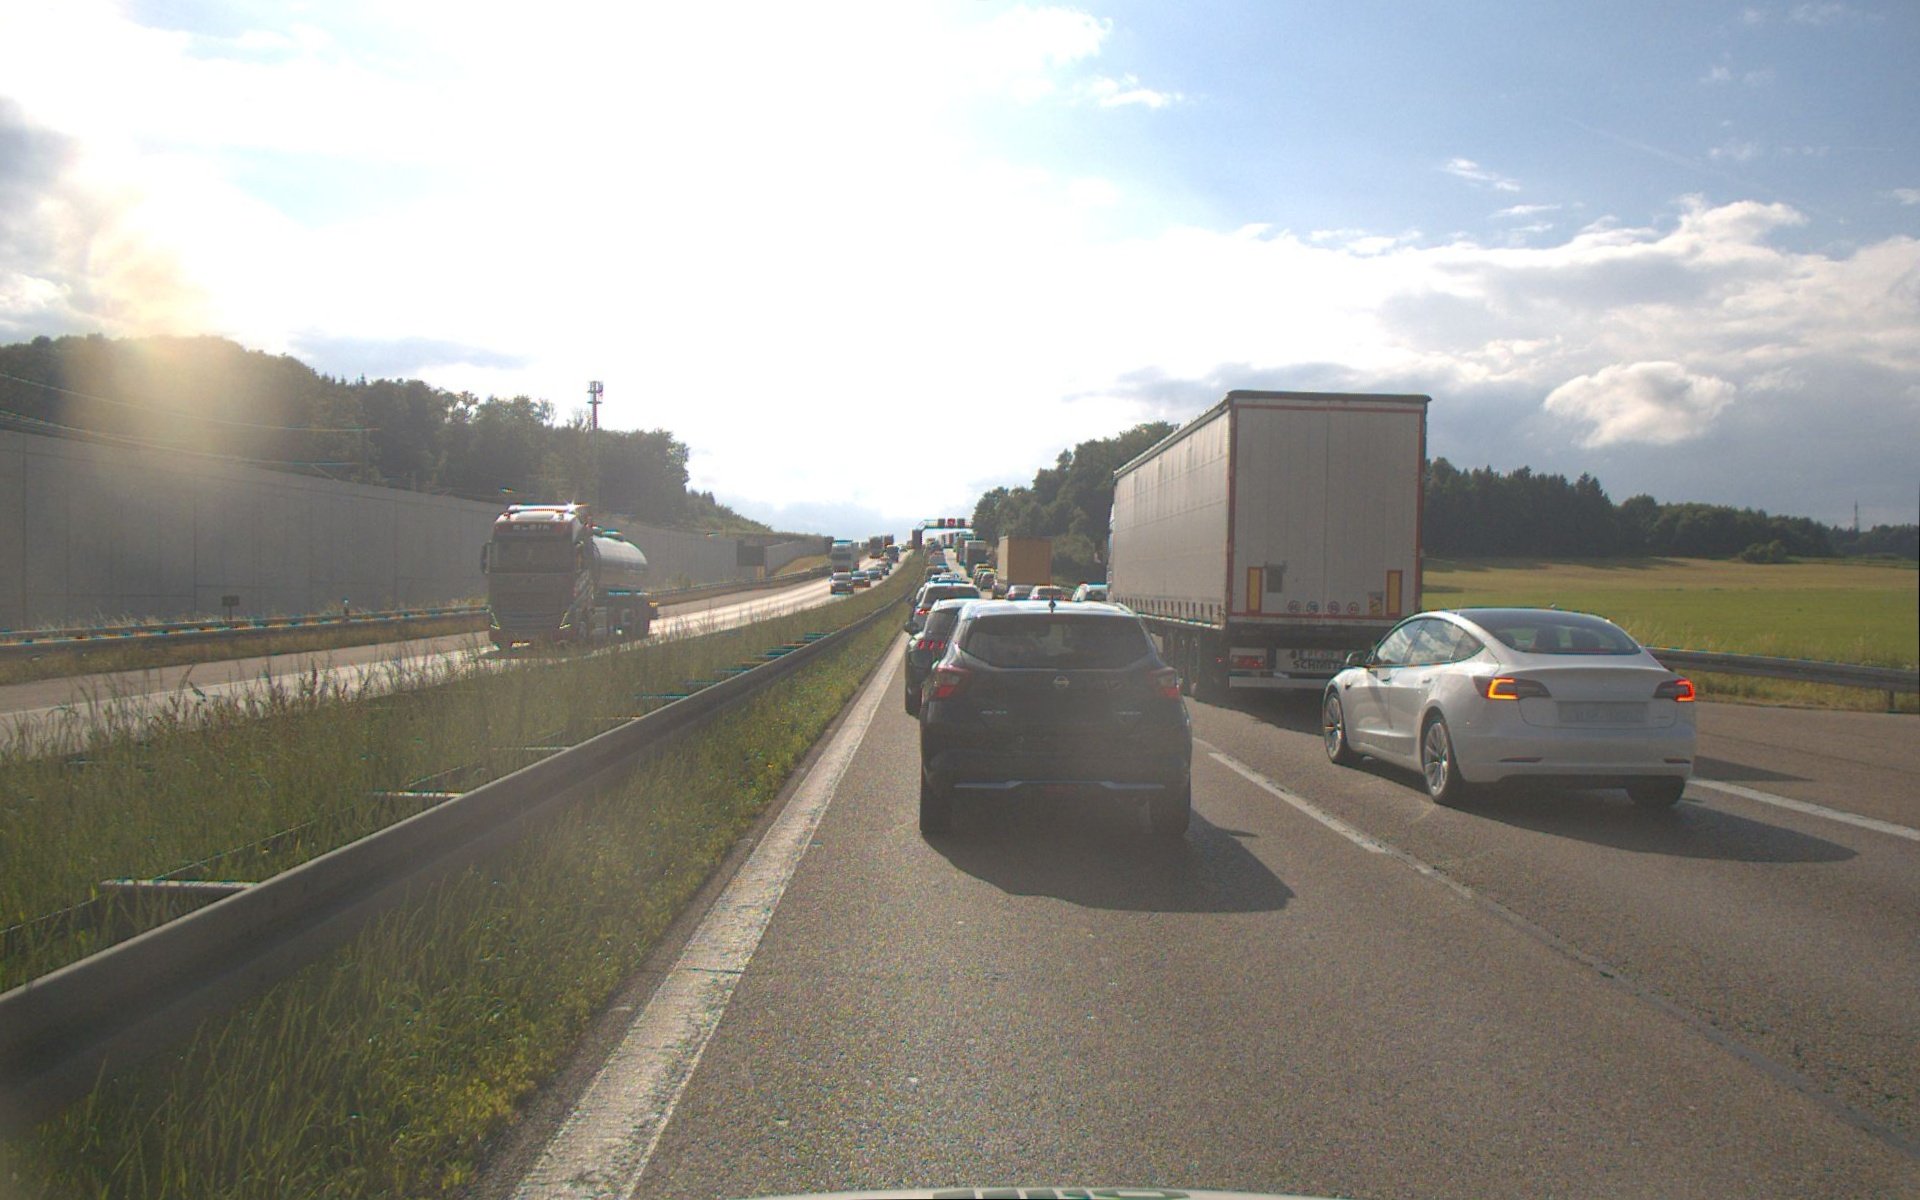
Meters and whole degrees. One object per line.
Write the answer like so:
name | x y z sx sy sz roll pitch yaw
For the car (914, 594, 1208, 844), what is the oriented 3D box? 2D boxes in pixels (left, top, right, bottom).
car | 0.577 0.702 11.887 1.737 1.476 4.231 0 0 -1

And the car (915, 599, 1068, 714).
car | 0.359 0.679 21.935 1.835 1.381 4.231 0 0 -1

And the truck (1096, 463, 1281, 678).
truck | 4.618 -0.539 34.457 3.069 4.086 5.163 1 -1 0

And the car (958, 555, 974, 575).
car | 0.752 -4.249 200.151 1.835 2.196 5.211 0 3 -1

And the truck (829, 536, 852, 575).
truck | -13.925 -5.147 192.666 2.332 4.254 5.931 0 0 -1

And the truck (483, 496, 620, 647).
truck | -11.536 -0.774 47.232 2.530 3.991 5.721 -1 0 -1

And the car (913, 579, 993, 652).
car | -0.179 0.350 39.969 1.835 1.673 4.231 0 0 -1

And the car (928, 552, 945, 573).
car | -2.659 -4.213 185.458 1.835 2.196 5.211 0 3 -1

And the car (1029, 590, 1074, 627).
car | 4.260 0.397 77.873 1.835 1.673 4.231 0 0 -1

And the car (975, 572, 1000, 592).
car | 2.350 -1.544 143.102 1.836 1.673 4.229 0 2 -4

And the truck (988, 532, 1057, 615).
truck | 3.673 -1.481 100.718 3.230 4.657 12.434 1 -1 -2

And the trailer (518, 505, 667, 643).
trailer | -11.624 -0.761 53.373 2.535 3.970 10.862 -1 0 -1

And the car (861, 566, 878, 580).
car | -10.159 -3.027 185.648 1.733 1.505 3.828 0 0 0

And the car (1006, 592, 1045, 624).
car | 3.438 0.400 87.326 1.835 1.673 4.232 0 1 -1

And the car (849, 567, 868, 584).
car | -9.595 -2.297 157.029 1.663 1.525 4.426 0 0 -1

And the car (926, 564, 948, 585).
car | -1.962 -2.188 141.671 1.835 1.673 4.231 0 2 -2

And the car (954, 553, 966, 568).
car | 0.002 -6.064 255.239 1.835 2.196 5.211 0 3 -1

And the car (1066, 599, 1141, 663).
car | 3.821 0.785 44.623 1.663 1.639 4.437 0 0 0

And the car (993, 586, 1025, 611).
car | 3.279 -0.118 111.900 1.836 1.673 4.230 0 1 -3

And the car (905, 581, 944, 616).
car | -1.732 -0.097 81.470 1.835 1.673 4.232 0 1 -1

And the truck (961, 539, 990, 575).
truck | 2.047 -5.843 225.884 3.394 4.656 12.437 1 1 -2

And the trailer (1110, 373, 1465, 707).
trailer | 4.659 -0.640 27.096 3.067 4.081 13.364 1 -1 0

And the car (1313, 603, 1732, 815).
car | 4.338 0.757 13.558 1.753 1.418 4.434 0 0 -3

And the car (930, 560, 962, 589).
car | -0.852 -1.566 99.273 1.835 1.673 4.232 0 2 -1

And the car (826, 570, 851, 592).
car | -9.823 -1.523 133.950 1.744 1.767 4.101 0 0 -1

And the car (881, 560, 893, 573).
car | -10.383 -4.789 236.127 1.674 1.736 4.172 0 0 -2
